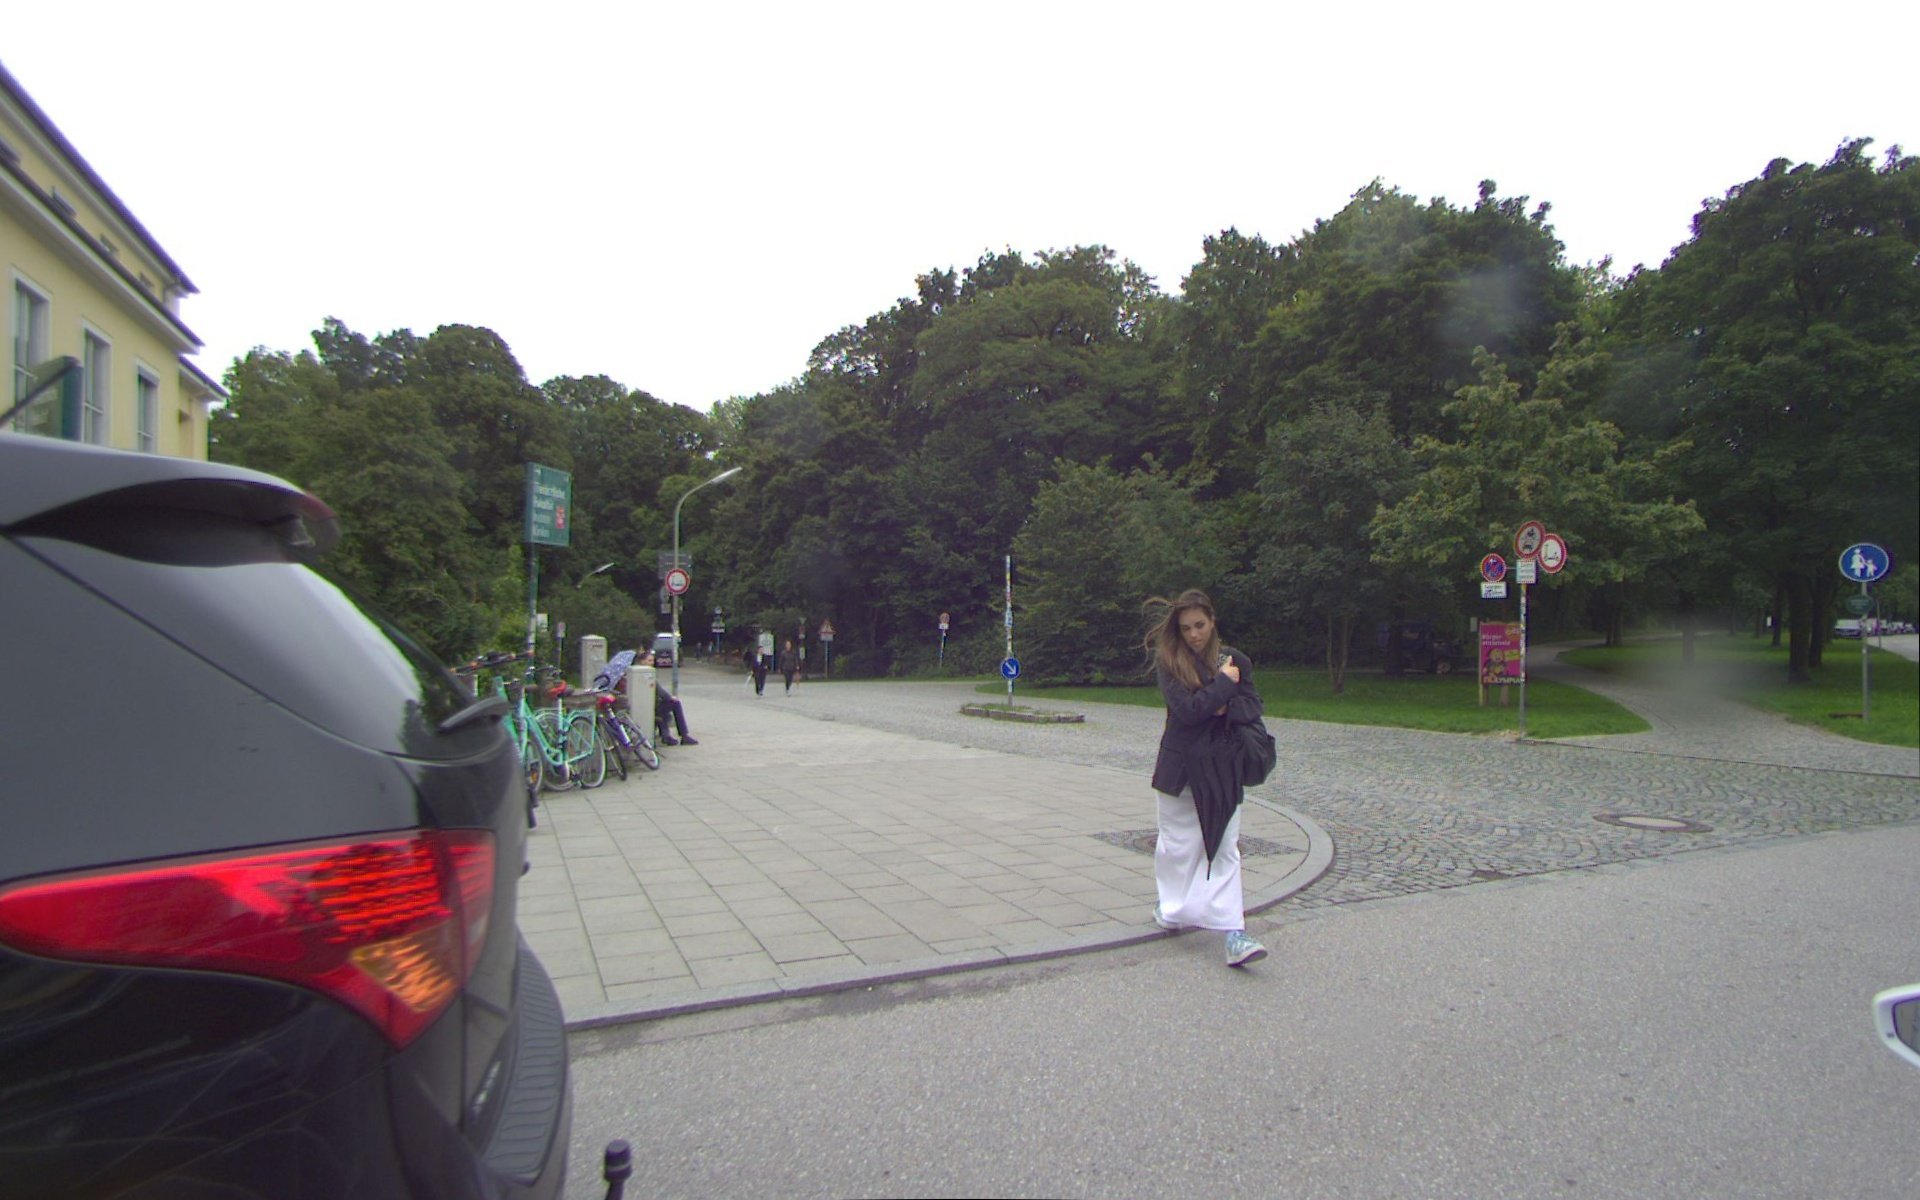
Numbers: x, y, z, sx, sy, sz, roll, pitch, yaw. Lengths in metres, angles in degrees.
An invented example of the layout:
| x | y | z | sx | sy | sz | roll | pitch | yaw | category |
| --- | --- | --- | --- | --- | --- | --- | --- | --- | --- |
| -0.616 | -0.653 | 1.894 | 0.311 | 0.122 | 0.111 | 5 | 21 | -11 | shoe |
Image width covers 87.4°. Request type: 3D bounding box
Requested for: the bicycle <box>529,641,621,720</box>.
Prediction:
| x | y | z | sx | sy | sz | roll | pitch | yaw | category |
| --- | --- | --- | --- | --- | --- | --- | --- | --- | --- |
| -9.161 | 1.857 | 23.806 | 1.044 | 1.683 | 3.115 | 1 | -1 | -41 | bicycle |

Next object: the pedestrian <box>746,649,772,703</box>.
| x | y | z | sx | sy | sz | roll | pitch | yaw | category |
| --- | --- | --- | --- | --- | --- | --- | --- | --- | --- |
| -6.229 | 2.346 | 31.126 | 0.681 | 1.602 | 0.748 | 1 | -1 | -21 | pedestrian |

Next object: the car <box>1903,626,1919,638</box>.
| x | y | z | sx | sy | sz | roll | pitch | yaw | category |
| --- | --- | --- | --- | --- | --- | --- | --- | --- | --- |
| 137.336 | 4.636 | 144.477 | 4.433 | 1.622 | 1.976 | 2 | -2 | -41 | car |

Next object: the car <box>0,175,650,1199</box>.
| x | y | z | sx | sy | sz | roll | pitch | yaw | category |
| --- | --- | --- | --- | --- | --- | --- | --- | --- | --- |
| -2.813 | 0.490 | 1.052 | 4.552 | 1.742 | 1.988 | 1 | -1 | -25 | car |

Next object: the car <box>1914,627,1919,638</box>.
| x | y | z | sx | sy | sz | roll | pitch | yaw | category |
| --- | --- | --- | --- | --- | --- | --- | --- | --- | --- |
| 141.946 | 4.782 | 148.026 | 4.220 | 1.680 | 1.785 | 2 | -2 | -43 | car |

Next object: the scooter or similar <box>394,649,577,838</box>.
| x | y | z | sx | sy | sz | roll | pitch | yaw | category |
| --- | --- | --- | --- | --- | --- | --- | --- | --- | --- |
| -3.330 | 0.982 | 7.079 | 1.032 | 1.228 | 0.440 | 2 | -1 | 7 | scooter or similar |

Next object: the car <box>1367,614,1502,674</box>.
| x | y | z | sx | sy | sz | roll | pitch | yaw | category |
| --- | --- | --- | --- | --- | --- | --- | --- | --- | --- |
| 16.646 | 1.531 | 35.374 | 3.919 | 2.040 | 1.789 | 0 | -2 | 6 | car |

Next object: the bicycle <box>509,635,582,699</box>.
| x | y | z | sx | sy | sz | roll | pitch | yaw | category |
| --- | --- | --- | --- | --- | --- | --- | --- | --- | --- |
| -11.900 | 1.862 | 28.780 | 1.044 | 1.683 | 3.115 | 1 | -1 | -40 | bicycle |

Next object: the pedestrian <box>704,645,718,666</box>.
| x | y | z | sx | sy | sz | roll | pitch | yaw | category |
| --- | --- | --- | --- | --- | --- | --- | --- | --- | --- |
| -20.328 | 4.558 | 82.060 | 0.876 | 1.674 | 0.724 | 1 | -2 | -43 | pedestrian |

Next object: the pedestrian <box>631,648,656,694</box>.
| x | y | z | sx | sy | sz | roll | pitch | yaw | category |
| --- | --- | --- | --- | --- | --- | --- | --- | --- | --- |
| -12.499 | 2.784 | 39.691 | 0.740 | 1.728 | 1.104 | 1 | -1 | -28 | pedestrian |

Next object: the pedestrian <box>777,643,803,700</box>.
| x | y | z | sx | sy | sz | roll | pitch | yaw | category |
| --- | --- | --- | --- | --- | --- | --- | --- | --- | --- |
| -5.334 | 2.232 | 31.515 | 0.651 | 1.720 | 0.747 | 1 | -1 | -23 | pedestrian |

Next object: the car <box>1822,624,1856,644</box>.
| x | y | z | sx | sy | sz | roll | pitch | yaw | category |
| --- | --- | --- | --- | --- | --- | --- | --- | --- | --- |
| 72.463 | 2.786 | 82.866 | 1.970 | 1.622 | 4.446 | 0 | -2 | 40 | car |

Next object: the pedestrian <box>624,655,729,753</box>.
| x | y | z | sx | sy | sz | roll | pitch | yaw | category |
| --- | --- | --- | --- | --- | --- | --- | --- | --- | --- |
| -4.016 | 1.439 | 14.233 | 1.252 | 1.285 | 0.843 | 1 | -1 | -32 | pedestrian |

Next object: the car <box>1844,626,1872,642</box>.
| x | y | z | sx | sy | sz | roll | pitch | yaw | category |
| --- | --- | --- | --- | --- | --- | --- | --- | --- | --- |
| 93.337 | 3.496 | 104.387 | 1.973 | 1.622 | 4.440 | -1 | -2 | 44 | car |

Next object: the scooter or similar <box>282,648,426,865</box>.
| x | y | z | sx | sy | sz | roll | pitch | yaw | category |
| --- | --- | --- | --- | --- | --- | --- | --- | --- | --- |
| -3.967 | 0.971 | 6.657 | 0.388 | 1.260 | 1.261 | 3 | -2 | -13 | scooter or similar |

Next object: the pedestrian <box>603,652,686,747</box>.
| x | y | z | sx | sy | sz | roll | pitch | yaw | category |
| --- | --- | --- | --- | --- | --- | --- | --- | --- | --- |
| -4.840 | 1.498 | 15.385 | 1.021 | 1.353 | 0.948 | 1 | -1 | -31 | pedestrian |

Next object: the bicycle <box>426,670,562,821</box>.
| x | y | z | sx | sy | sz | roll | pitch | yaw | category |
| --- | --- | --- | --- | --- | --- | --- | --- | --- | --- |
| -3.874 | 1.176 | 8.427 | 0.295 | 1.125 | 1.192 | 1 | -2 | 16 | bicycle |

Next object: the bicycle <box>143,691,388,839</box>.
| x | y | z | sx | sy | sz | roll | pitch | yaw | category |
| --- | --- | --- | --- | --- | --- | --- | --- | --- | --- |
| -4.811 | 1.103 | 7.017 | 1.322 | 0.905 | 0.429 | 4 | -3 | -44 | bicycle |

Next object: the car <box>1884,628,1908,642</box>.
| x | y | z | sx | sy | sz | roll | pitch | yaw | category |
| --- | --- | --- | --- | --- | --- | --- | --- | --- | --- |
| 119.671 | 4.466 | 128.445 | 4.216 | 1.680 | 1.787 | 2 | -2 | -40 | car |

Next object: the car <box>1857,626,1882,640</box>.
| x | y | z | sx | sy | sz | roll | pitch | yaw | category |
| --- | --- | --- | --- | --- | --- | --- | --- | --- | --- |
| 104.677 | 3.810 | 115.607 | 1.973 | 1.622 | 4.439 | -1 | -2 | 44 | car |

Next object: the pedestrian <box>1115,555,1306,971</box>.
| x | y | z | sx | sy | sz | roll | pitch | yaw | category |
| --- | --- | --- | --- | --- | --- | --- | --- | --- | --- |
| 1.139 | 0.691 | 4.590 | 0.660 | 1.719 | 0.538 | 2 | -3 | -37 | pedestrian |

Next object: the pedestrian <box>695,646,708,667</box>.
| x | y | z | sx | sy | sz | roll | pitch | yaw | category |
| --- | --- | --- | --- | --- | --- | --- | --- | --- | --- |
| -20.856 | 4.532 | 81.157 | 0.865 | 1.674 | 0.733 | 0 | -2 | -1 | pedestrian |

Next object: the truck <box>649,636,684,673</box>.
| x | y | z | sx | sy | sz | roll | pitch | yaw | category |
| --- | --- | --- | --- | --- | --- | --- | --- | --- | --- |
| -21.417 | 3.952 | 73.365 | 2.361 | 2.493 | 5.475 | 1 | -1 | -16 | truck |

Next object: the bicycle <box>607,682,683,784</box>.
| x | y | z | sx | sy | sz | roll | pitch | yaw | category |
| --- | --- | --- | --- | --- | --- | --- | --- | --- | --- |
| -3.421 | 1.418 | 10.980 | 0.406 | 0.990 | 1.276 | 0 | -2 | 1 | bicycle |

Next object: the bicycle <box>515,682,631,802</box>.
| x | y | z | sx | sy | sz | roll | pitch | yaw | category |
| --- | --- | --- | --- | --- | --- | --- | --- | --- | --- |
| -3.639 | 1.308 | 9.536 | 0.406 | 0.990 | 1.277 | 0 | -2 | 11 | bicycle |
